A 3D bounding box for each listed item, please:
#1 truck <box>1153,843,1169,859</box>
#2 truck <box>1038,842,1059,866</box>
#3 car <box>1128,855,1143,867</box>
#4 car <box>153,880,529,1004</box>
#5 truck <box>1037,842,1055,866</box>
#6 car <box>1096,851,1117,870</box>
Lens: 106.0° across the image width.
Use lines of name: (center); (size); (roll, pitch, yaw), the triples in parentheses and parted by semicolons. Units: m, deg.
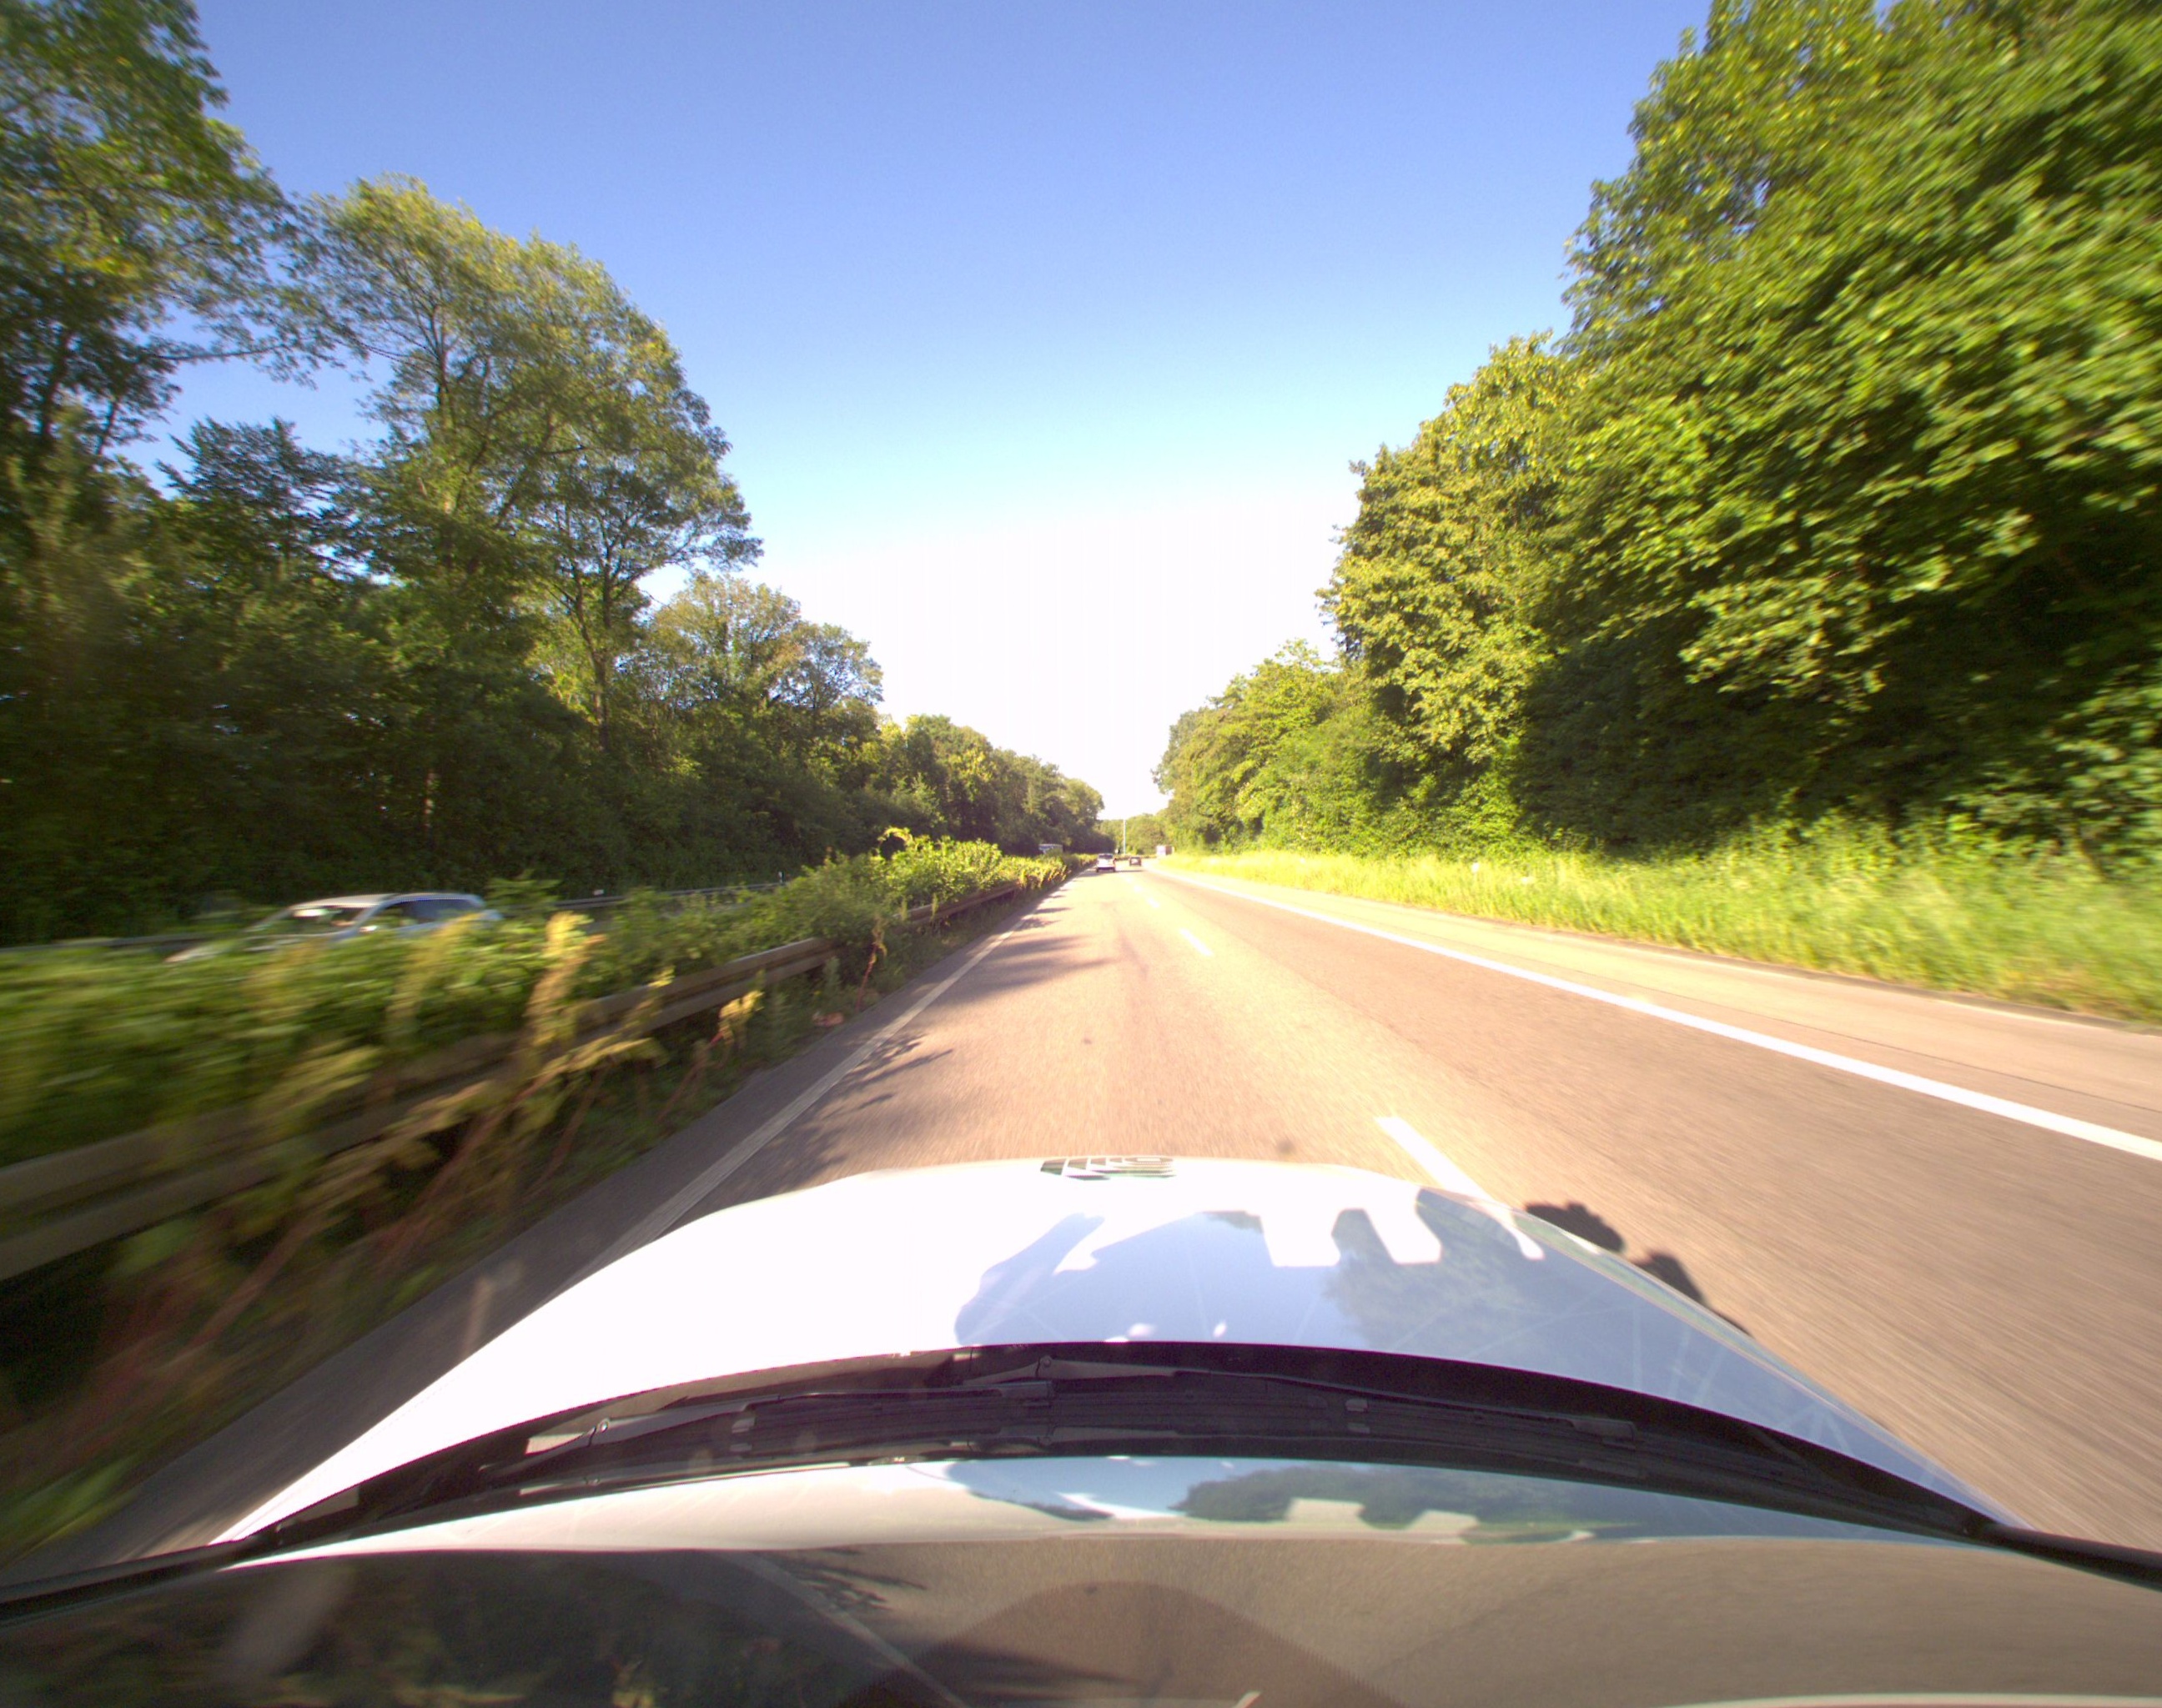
truck: (22.854, -0.917, 231.825); (3.712, 4.343, 9.329); (-1, -1, 10)
truck: (-5.856, 0.052, 150.511); (2.697, 4.097, 14.028); (0, -1, 2)
car: (7.923, 1.039, 119.300); (1.944, 1.782, 4.588); (0, -1, 1)
car: (-11.318, 1.241, 13.008); (1.987, 1.449, 4.338); (-2, 0, 0)
truck: (-6.173, -0.024, 143.360); (2.705, 4.097, 5.439); (0, -1, 2)
car: (2.376, 0.645, 77.528); (1.944, 1.782, 4.588); (0, -1, 1)
